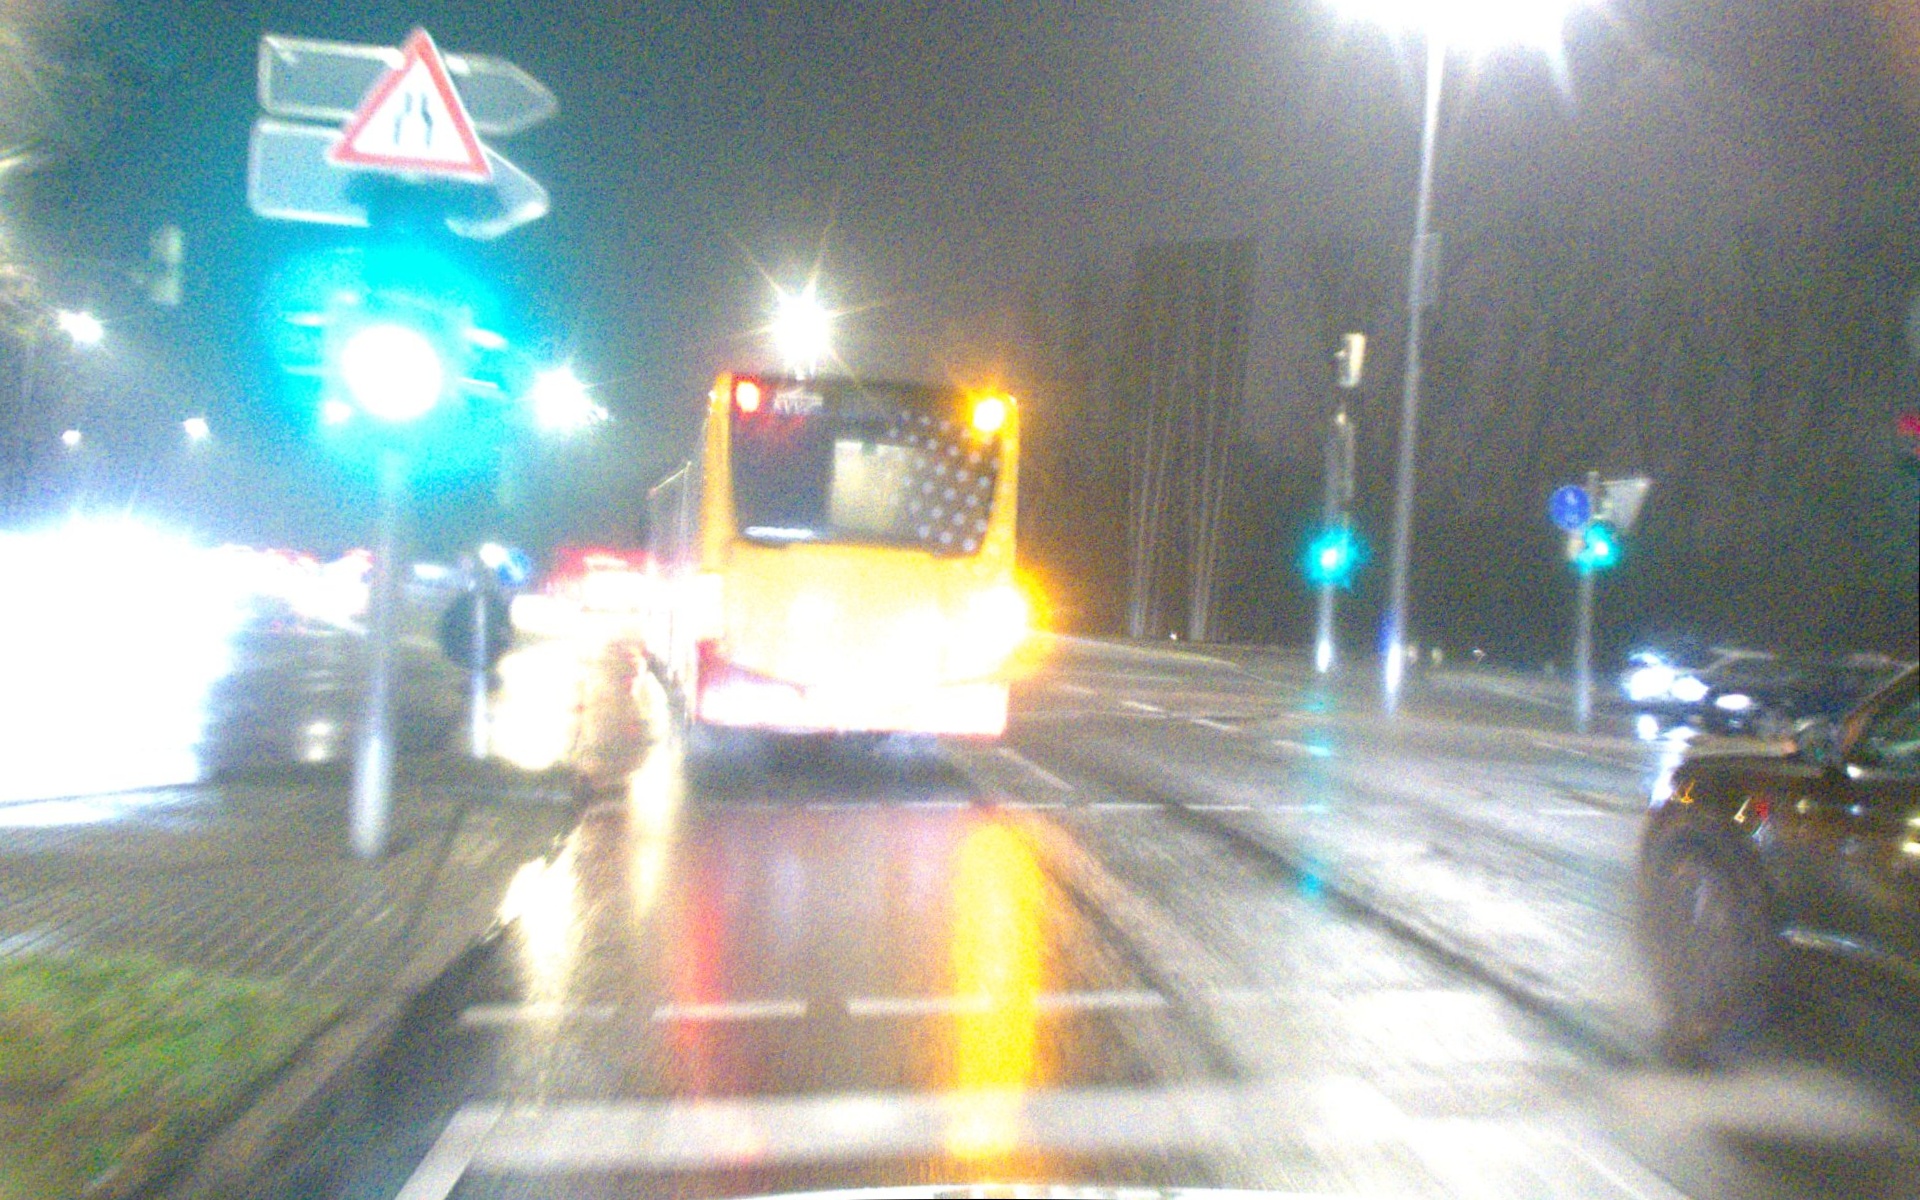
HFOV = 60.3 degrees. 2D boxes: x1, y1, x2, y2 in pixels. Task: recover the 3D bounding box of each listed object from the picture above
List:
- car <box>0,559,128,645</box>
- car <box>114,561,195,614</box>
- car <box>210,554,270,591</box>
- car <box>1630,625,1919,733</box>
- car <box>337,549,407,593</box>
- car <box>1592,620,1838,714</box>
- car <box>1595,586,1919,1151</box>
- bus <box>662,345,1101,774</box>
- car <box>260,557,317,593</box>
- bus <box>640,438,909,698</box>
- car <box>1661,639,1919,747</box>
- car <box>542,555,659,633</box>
[{"bbox_3d":[-17.745,0.010,32.195,1.750,1.485,4.461,3,0,-14],"label":"car"},{"bbox_3d":[-23.257,-0.392,47.877,1.782,1.376,4.114,4,0,-23],"label":"car"},{"bbox_3d":[-39.026,-1.500,89.661,2.073,1.672,3.683,8,-2,-36],"label":"car"},{"bbox_3d":[14.750,1.402,29.974,4.394,1.545,1.856,4,1,-3],"label":"car"},{"bbox_3d":[-24.190,-1.199,68.002,1.799,1.646,3.955,4,-1,-32],"label":"car"},{"bbox_3d":[15.260,1.336,33.574,4.081,1.545,1.856,4,1,-3],"label":"car"},{"bbox_3d":[3.495,0.782,4.486,1.645,1.548,3.955,4,-1,-6],"label":"car"},{"bbox_3d":[-1.375,-0.298,16.957,3.225,3.103,9.520,1,0,-10],"label":"bus"},{"bbox_3d":[-33.063,-1.231,81.376,1.800,1.646,3.953,4,-1,-34],"label":"car"},{"bbox_3d":[-3.221,-0.514,25.931,3.191,3.174,8.620,4,1,-12],"label":"bus"},{"bbox_3d":[13.488,1.467,26.211,3.962,1.369,1.746,4,1,-3],"label":"car"},{"bbox_3d":[-10.478,-0.179,47.965,1.973,2.049,4.304,4,-1,-30],"label":"car"}]
